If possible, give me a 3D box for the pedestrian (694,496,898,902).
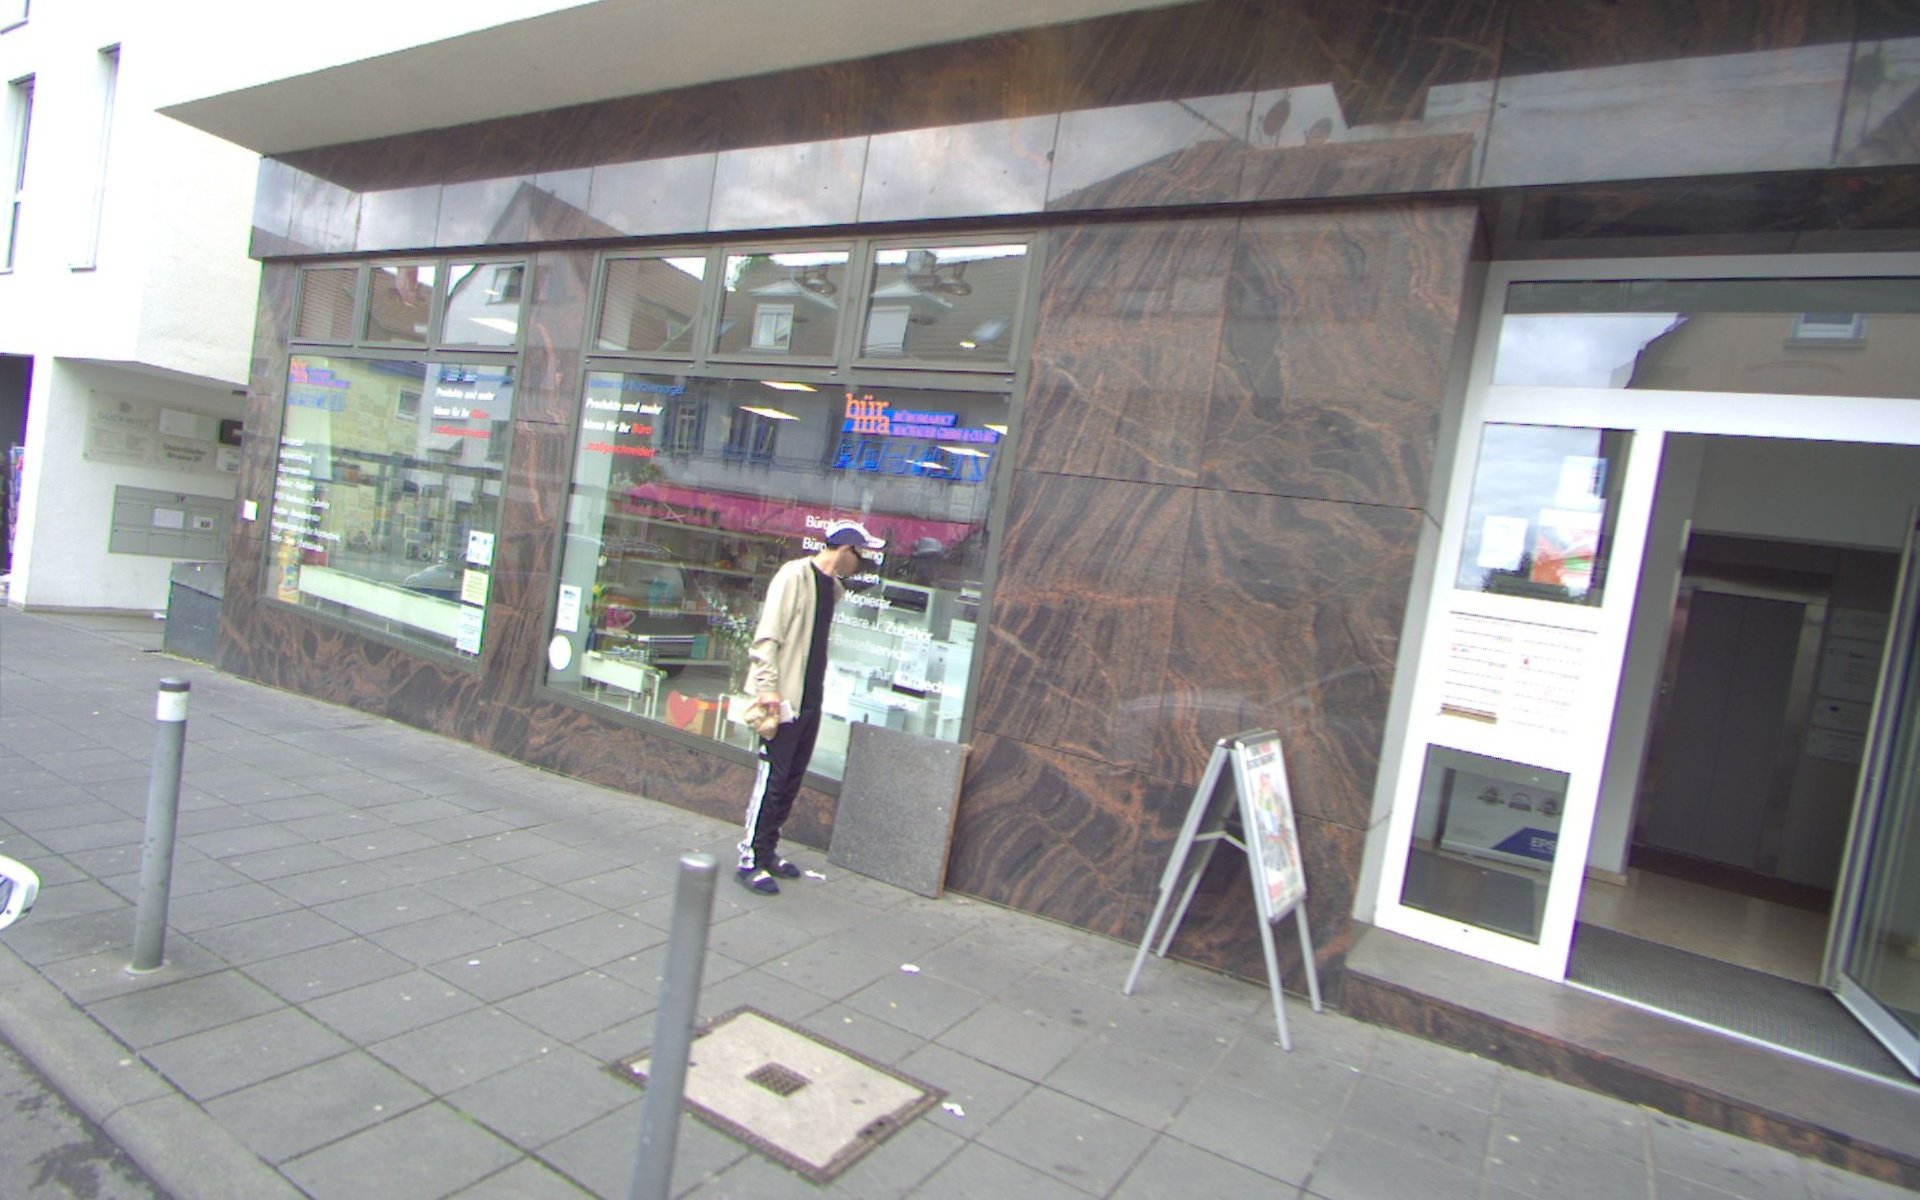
[{"bbox_3d":[-0.752,0.420,4.688,0.533,1.713,0.663,7,4,25],"label":"pedestrian"}]
